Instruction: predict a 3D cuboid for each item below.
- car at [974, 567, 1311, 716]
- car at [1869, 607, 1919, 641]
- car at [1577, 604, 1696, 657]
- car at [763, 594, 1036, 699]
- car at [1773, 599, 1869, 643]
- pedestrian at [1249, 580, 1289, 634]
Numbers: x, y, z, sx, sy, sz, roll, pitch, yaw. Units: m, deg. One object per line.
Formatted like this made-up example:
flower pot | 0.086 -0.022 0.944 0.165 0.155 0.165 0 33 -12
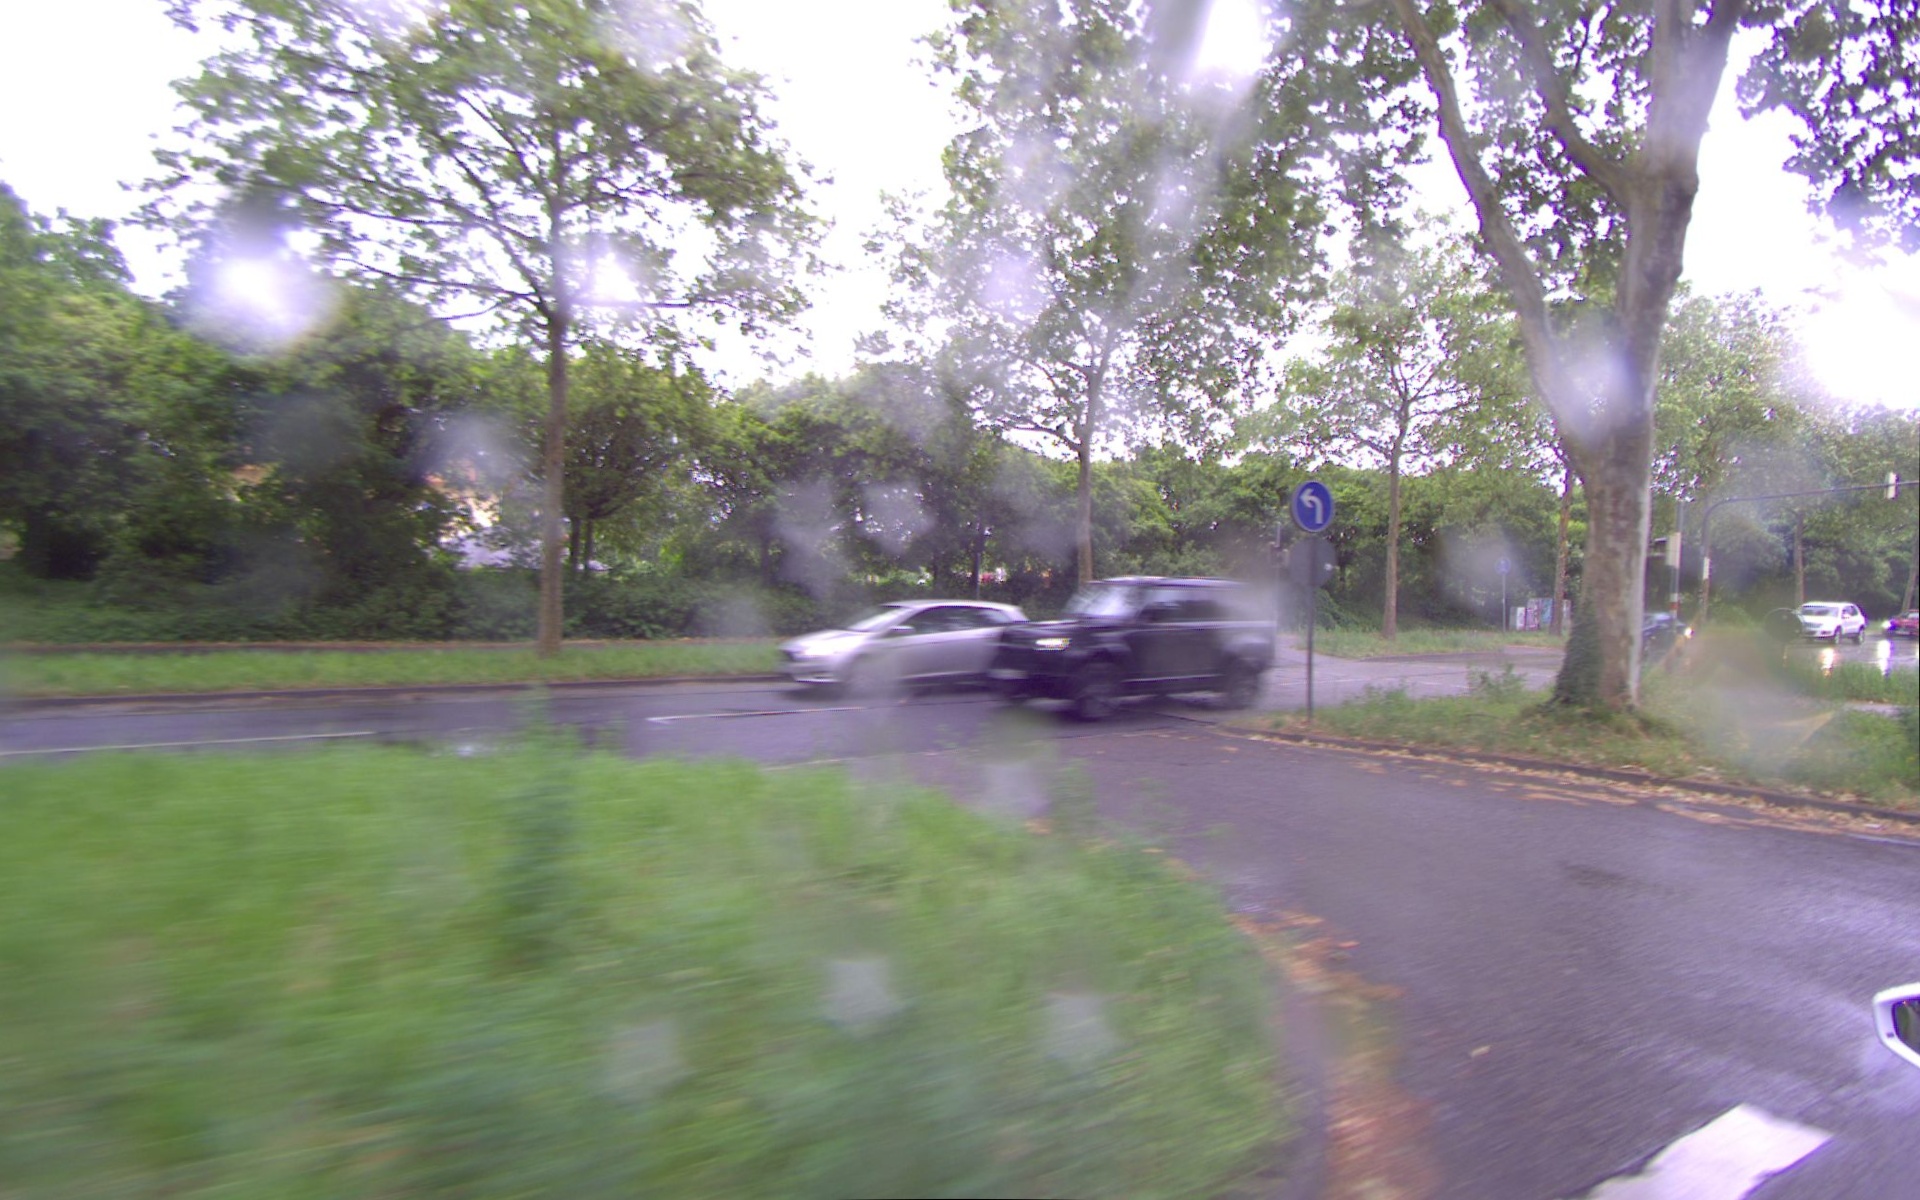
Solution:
car | 2.788 0.548 14.744 5.066 1.866 1.733 1 1 -34
car | 44.093 1.106 46.626 4.396 1.427 1.733 1 1 -33
car | 21.646 0.918 32.084 4.401 1.458 1.731 -1 2 -36
car | -0.935 0.709 16.566 4.190 1.496 1.733 1 1 -34
car | 35.236 0.870 41.095 4.396 1.653 1.733 1 1 -33
pedestrian | 9.884 0.227 32.121 0.890 1.696 0.826 1 1 -33
